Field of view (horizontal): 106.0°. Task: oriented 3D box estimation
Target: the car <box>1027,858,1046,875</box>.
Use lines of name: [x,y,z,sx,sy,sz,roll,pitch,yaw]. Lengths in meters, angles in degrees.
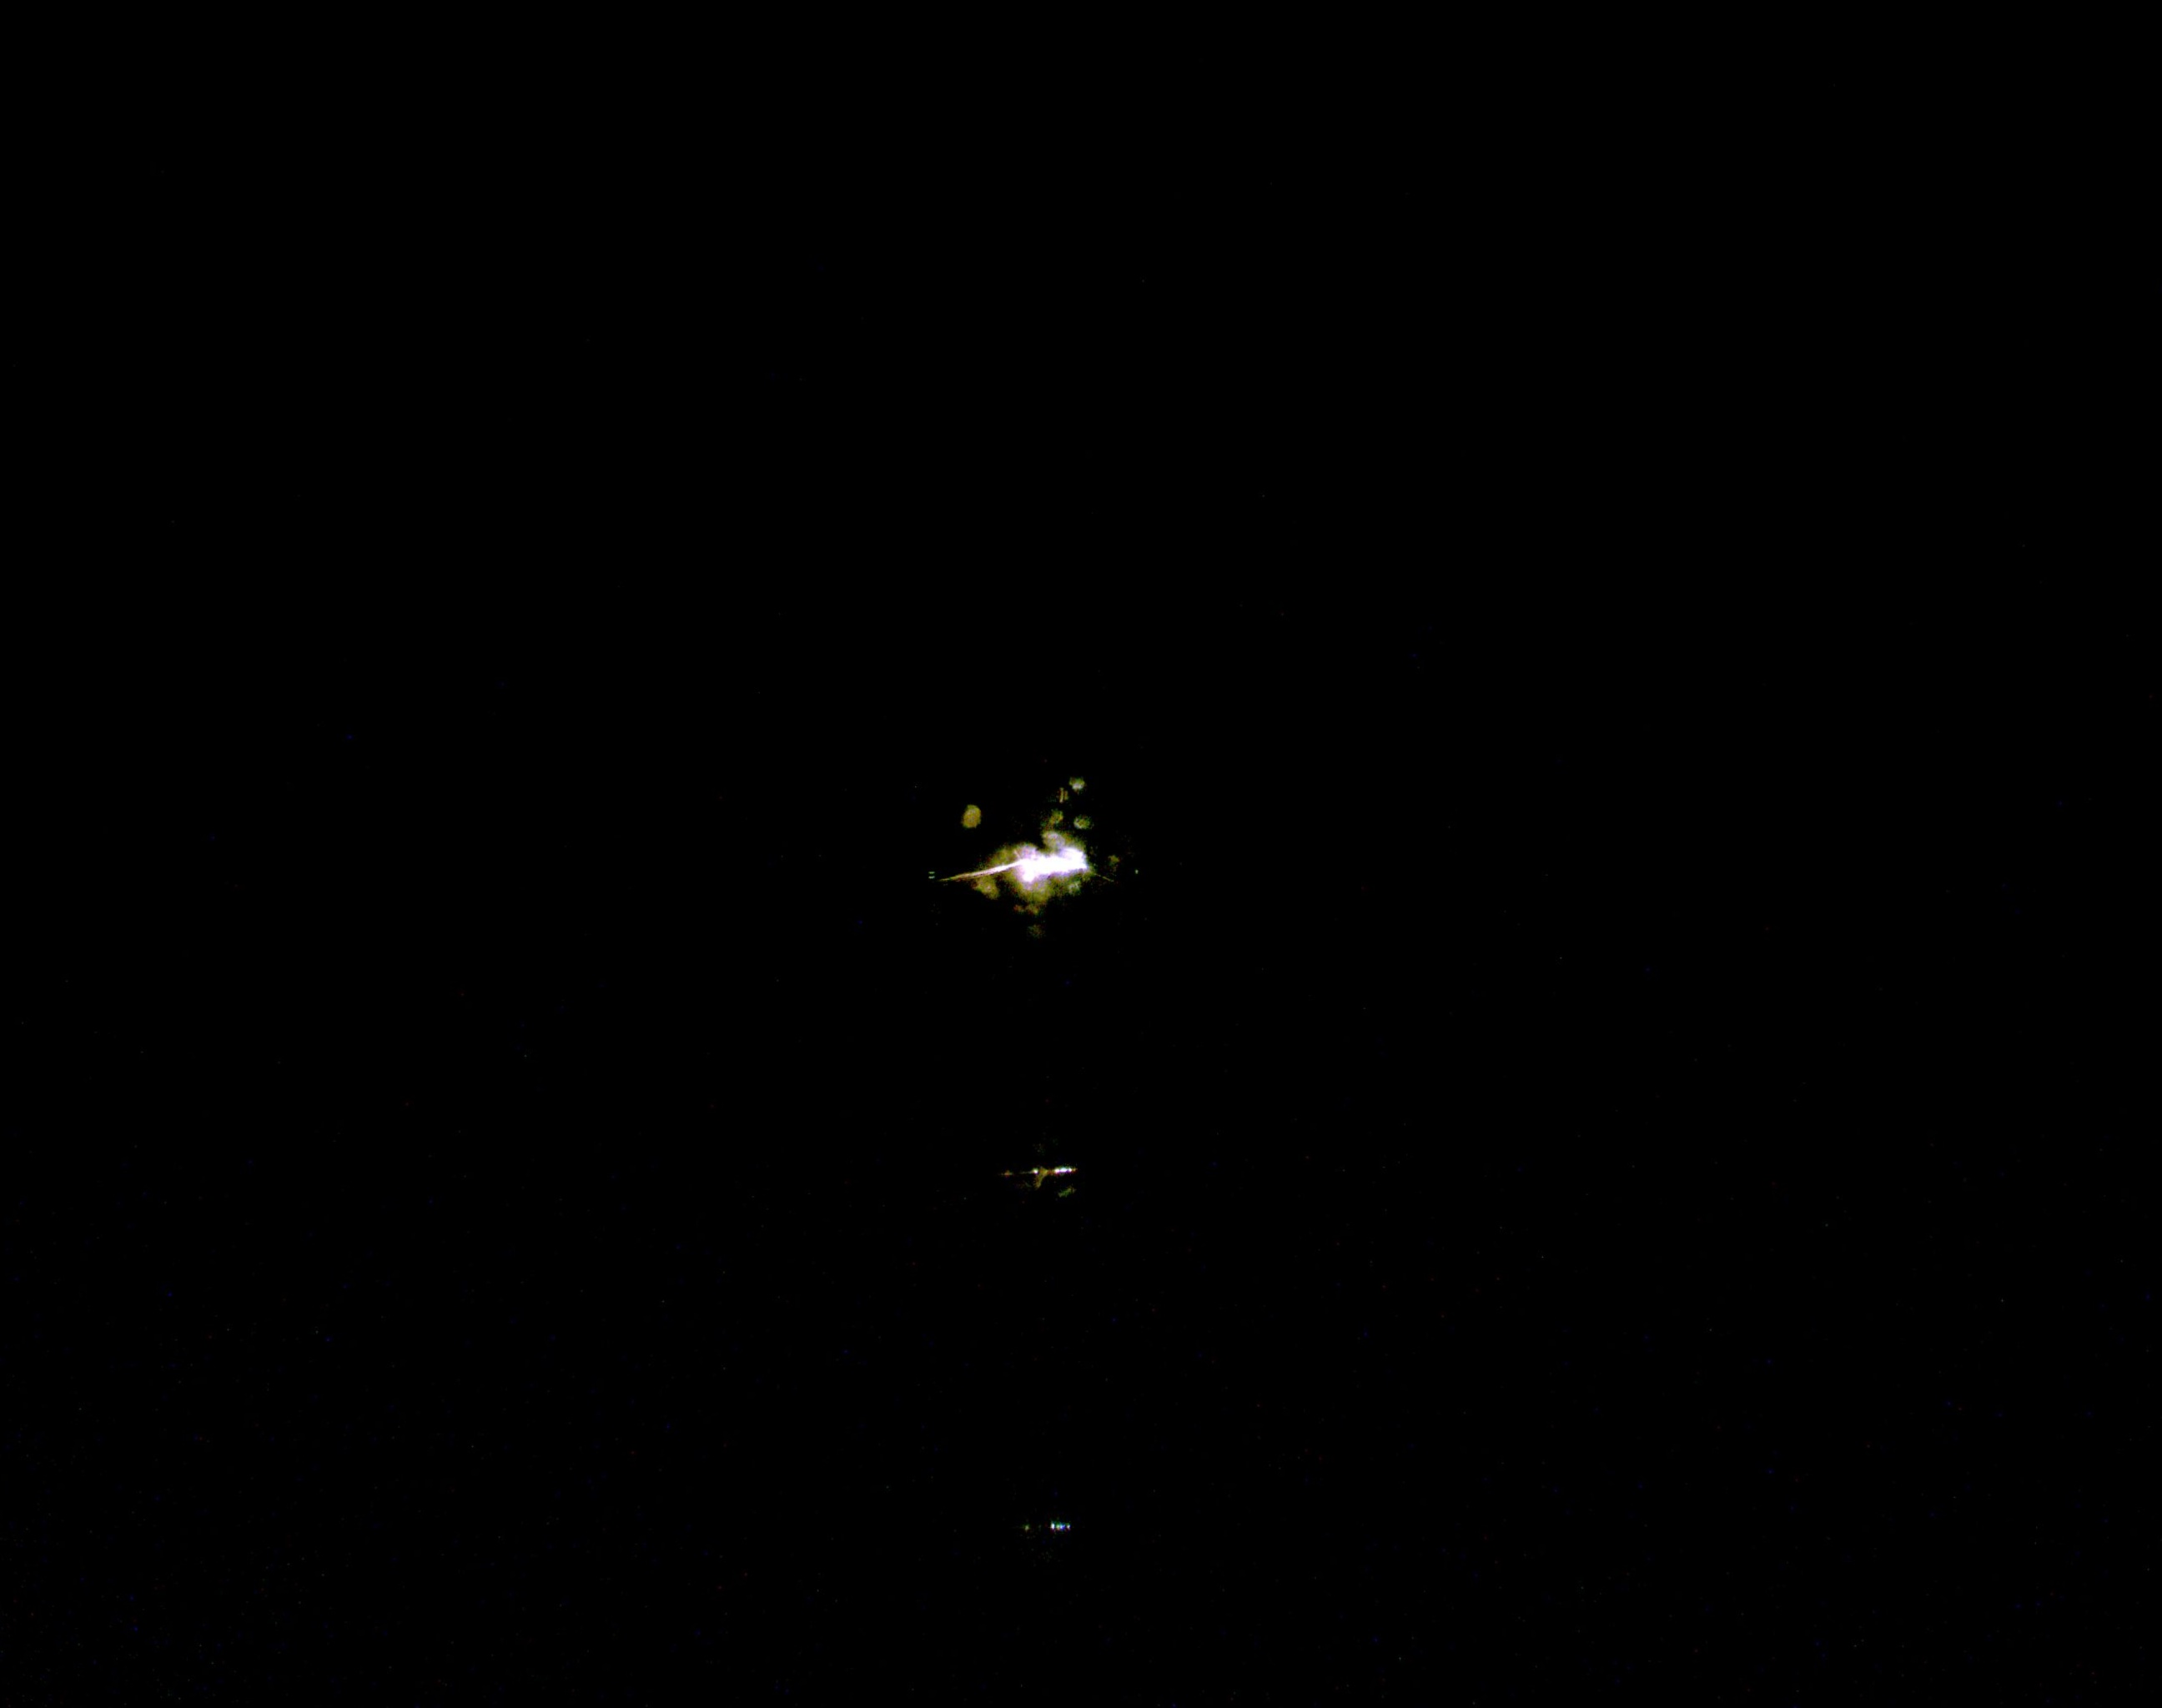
car: [-4.379,1.174,80.345,1.717,1.613,4.000,0,0,-1]
